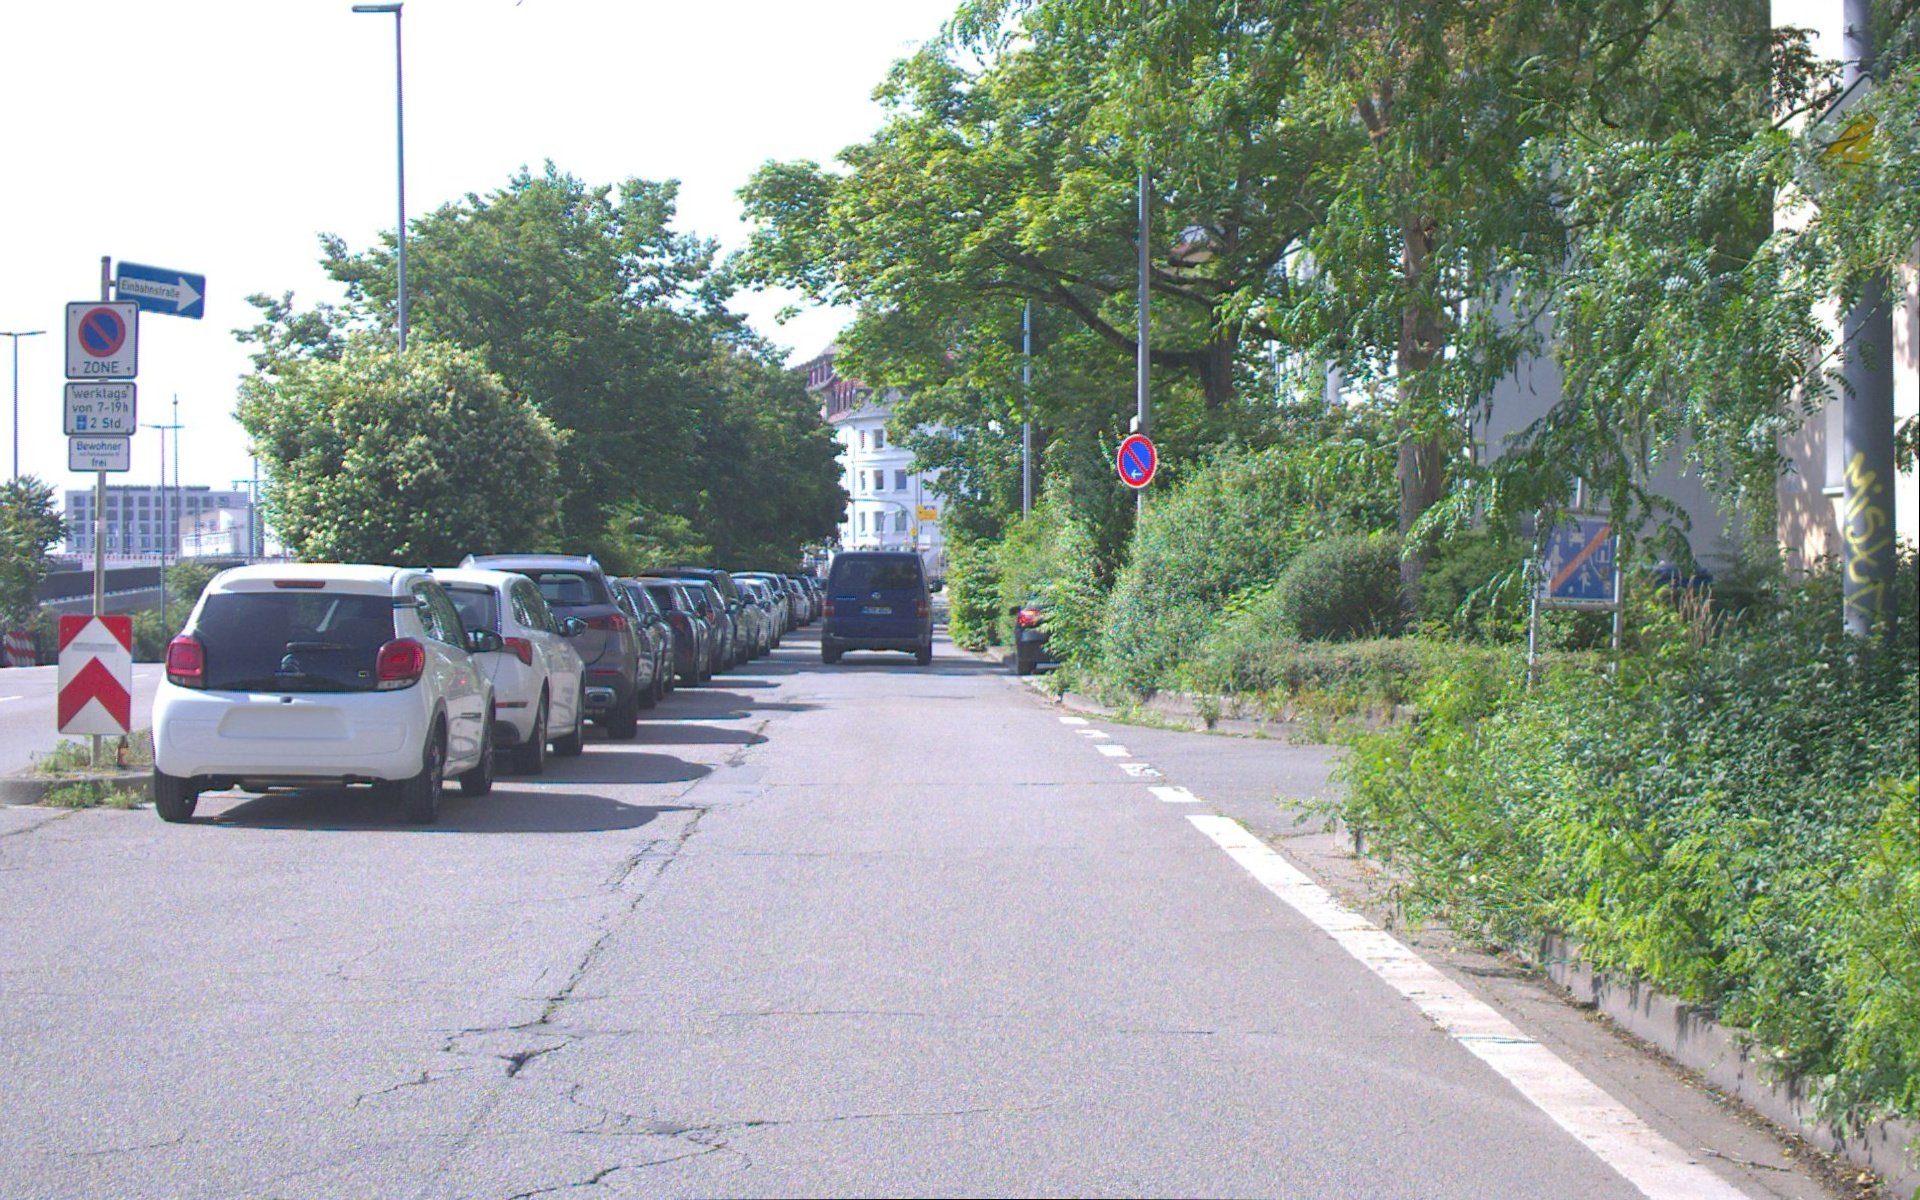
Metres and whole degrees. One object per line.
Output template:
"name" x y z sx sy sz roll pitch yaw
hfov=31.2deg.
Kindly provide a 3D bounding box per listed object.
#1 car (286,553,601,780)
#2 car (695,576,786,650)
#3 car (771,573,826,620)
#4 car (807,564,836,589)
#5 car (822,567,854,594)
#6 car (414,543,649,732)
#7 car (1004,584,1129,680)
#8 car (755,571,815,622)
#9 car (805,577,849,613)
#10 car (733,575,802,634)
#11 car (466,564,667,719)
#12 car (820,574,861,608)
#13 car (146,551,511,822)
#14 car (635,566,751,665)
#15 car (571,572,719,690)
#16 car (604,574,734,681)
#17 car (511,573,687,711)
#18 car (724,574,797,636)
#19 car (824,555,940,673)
"car" -3.749 0.430 25.580 1.721 1.500 4.132 2 1 -1
"car" -4.643 0.255 73.114 1.664 1.463 4.201 2 1 -1
"car" -5.461 -0.124 116.721 1.664 1.504 4.008 2 1 -1
"car" -9.508 -1.608 236.519 1.993 1.651 3.741 0 0 -2
"car" -7.503 -1.202 211.597 1.993 1.651 4.000 0 0 -2
"car" -3.799 0.283 31.063 1.771 1.574 4.187 -1 1 -3
"car" 1.633 0.478 53.965 1.726 1.415 4.000 -1 0 -1
"car" -5.370 -0.126 105.712 1.664 1.504 4.008 0 1 -1
"car" -6.136 -0.234 158.953 1.993 1.651 4.000 0 0 -2
"car" -5.282 0.106 94.627 1.664 1.504 4.008 2 1 -1
"car" -4.105 0.399 36.377 1.664 1.469 3.876 3 1 -1
"car" -5.852 -0.436 168.758 1.993 1.651 4.000 0 0 -2
"car" -3.768 0.466 21.016 1.619 1.500 3.462 1 1 -1
"car" -4.428 0.232 57.439 1.664 1.578 3.932 0 1 -1
"car" -4.243 0.394 46.757 1.664 1.468 3.789 2 1 -1
"car" -4.418 0.387 52.694 1.664 1.506 3.789 2 1 -1
"car" -4.340 0.463 41.860 1.664 1.506 4.594 2 1 -1
"car" -5.178 0.120 89.737 1.664 1.504 4.008 2 1 -1
"car" -1.337 0.204 59.710 1.883 1.915 4.008 2 1 -1
